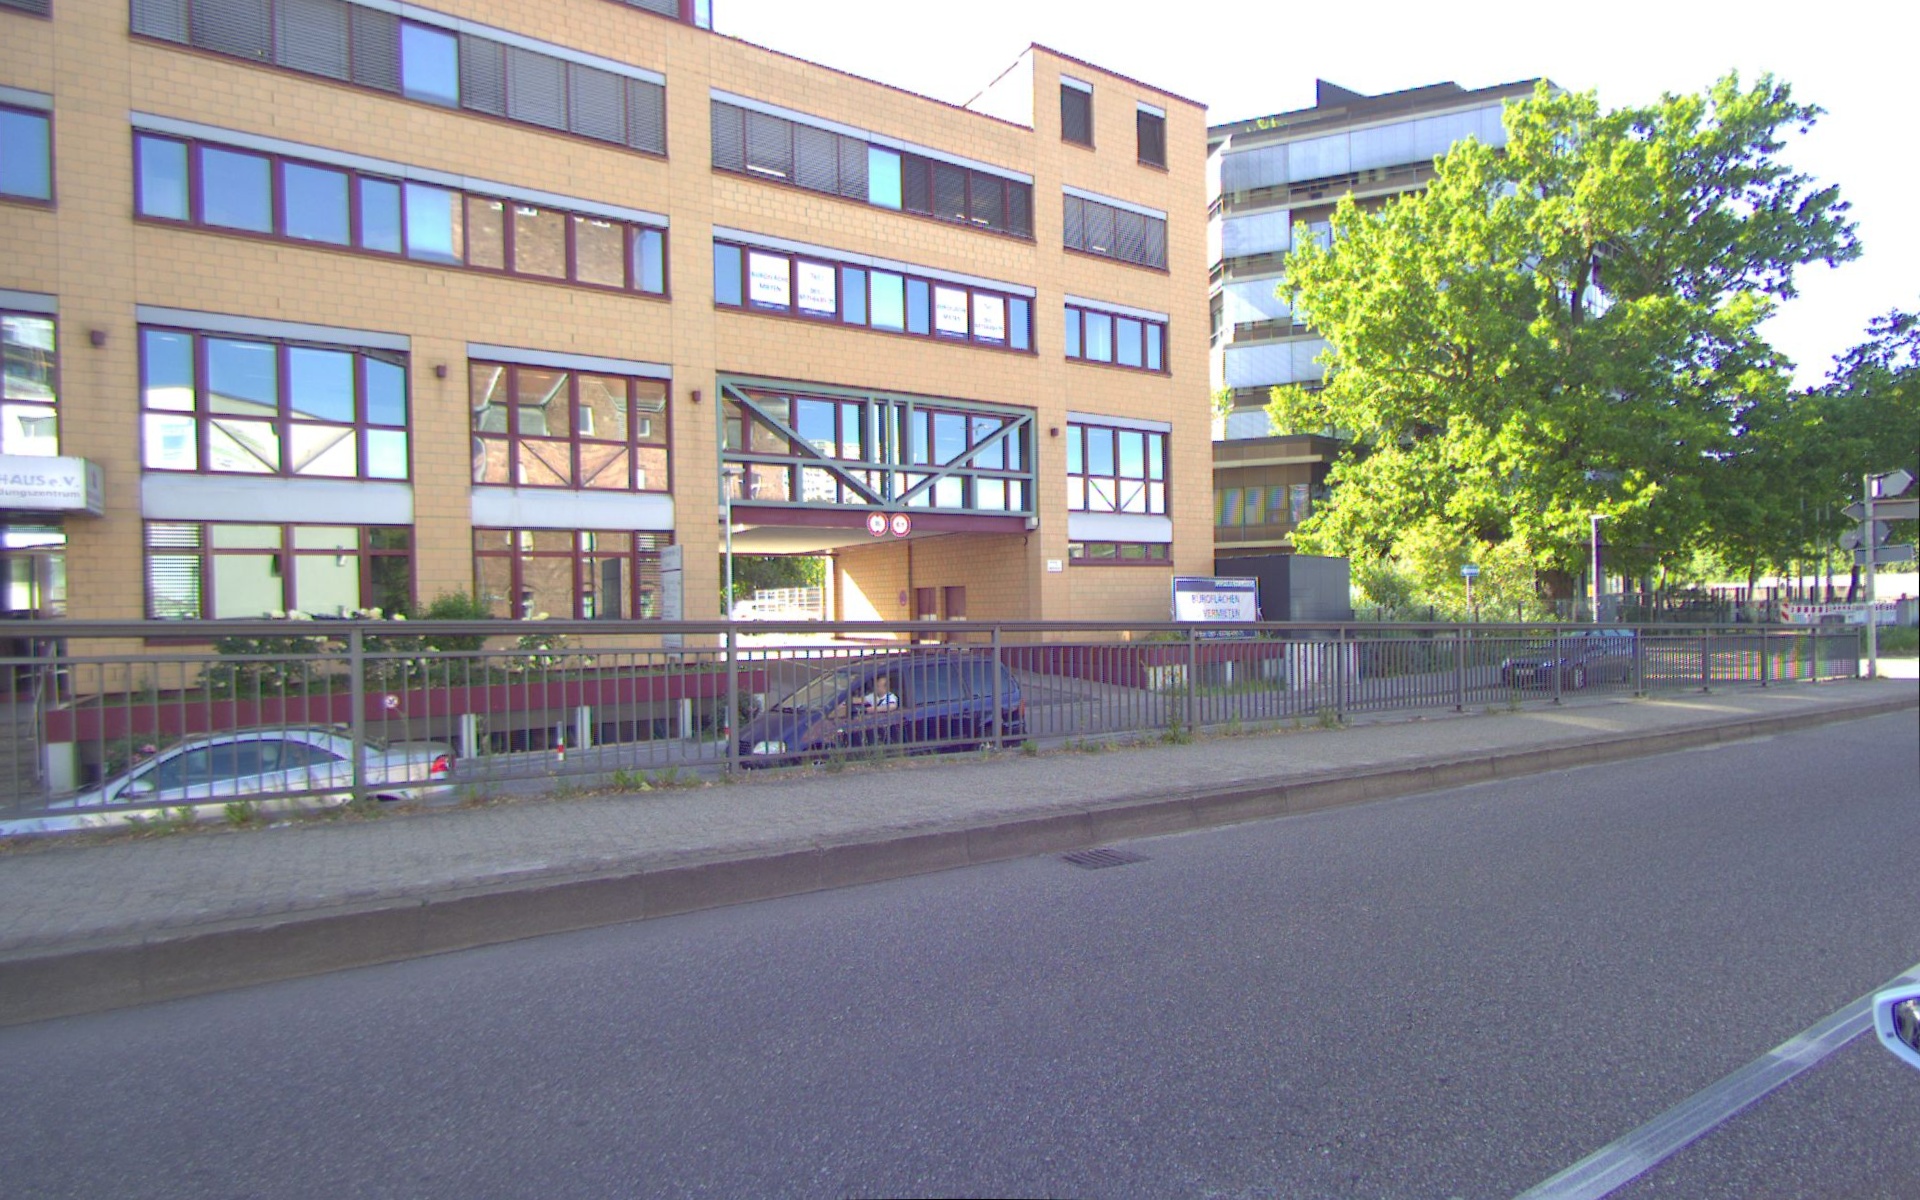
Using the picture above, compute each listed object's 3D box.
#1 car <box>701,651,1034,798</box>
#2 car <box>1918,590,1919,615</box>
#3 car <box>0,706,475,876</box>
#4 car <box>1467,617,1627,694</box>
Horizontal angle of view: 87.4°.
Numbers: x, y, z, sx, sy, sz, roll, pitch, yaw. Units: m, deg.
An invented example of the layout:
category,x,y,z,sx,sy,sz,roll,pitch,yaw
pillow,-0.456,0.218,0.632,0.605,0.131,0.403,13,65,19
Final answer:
category,x,y,z,sx,sy,sz,roll,pitch,yaw
car,-1.223,1.641,14.427,4.541,1.669,1.710,0,-2,-36
car,64.575,0.155,64.563,1.853,1.651,4.412,-1,0,2
car,-7.482,1.867,10.500,4.210,1.181,1.712,0,-2,-32
car,14.989,1.349,25.616,3.953,1.715,1.842,-1,0,-31
